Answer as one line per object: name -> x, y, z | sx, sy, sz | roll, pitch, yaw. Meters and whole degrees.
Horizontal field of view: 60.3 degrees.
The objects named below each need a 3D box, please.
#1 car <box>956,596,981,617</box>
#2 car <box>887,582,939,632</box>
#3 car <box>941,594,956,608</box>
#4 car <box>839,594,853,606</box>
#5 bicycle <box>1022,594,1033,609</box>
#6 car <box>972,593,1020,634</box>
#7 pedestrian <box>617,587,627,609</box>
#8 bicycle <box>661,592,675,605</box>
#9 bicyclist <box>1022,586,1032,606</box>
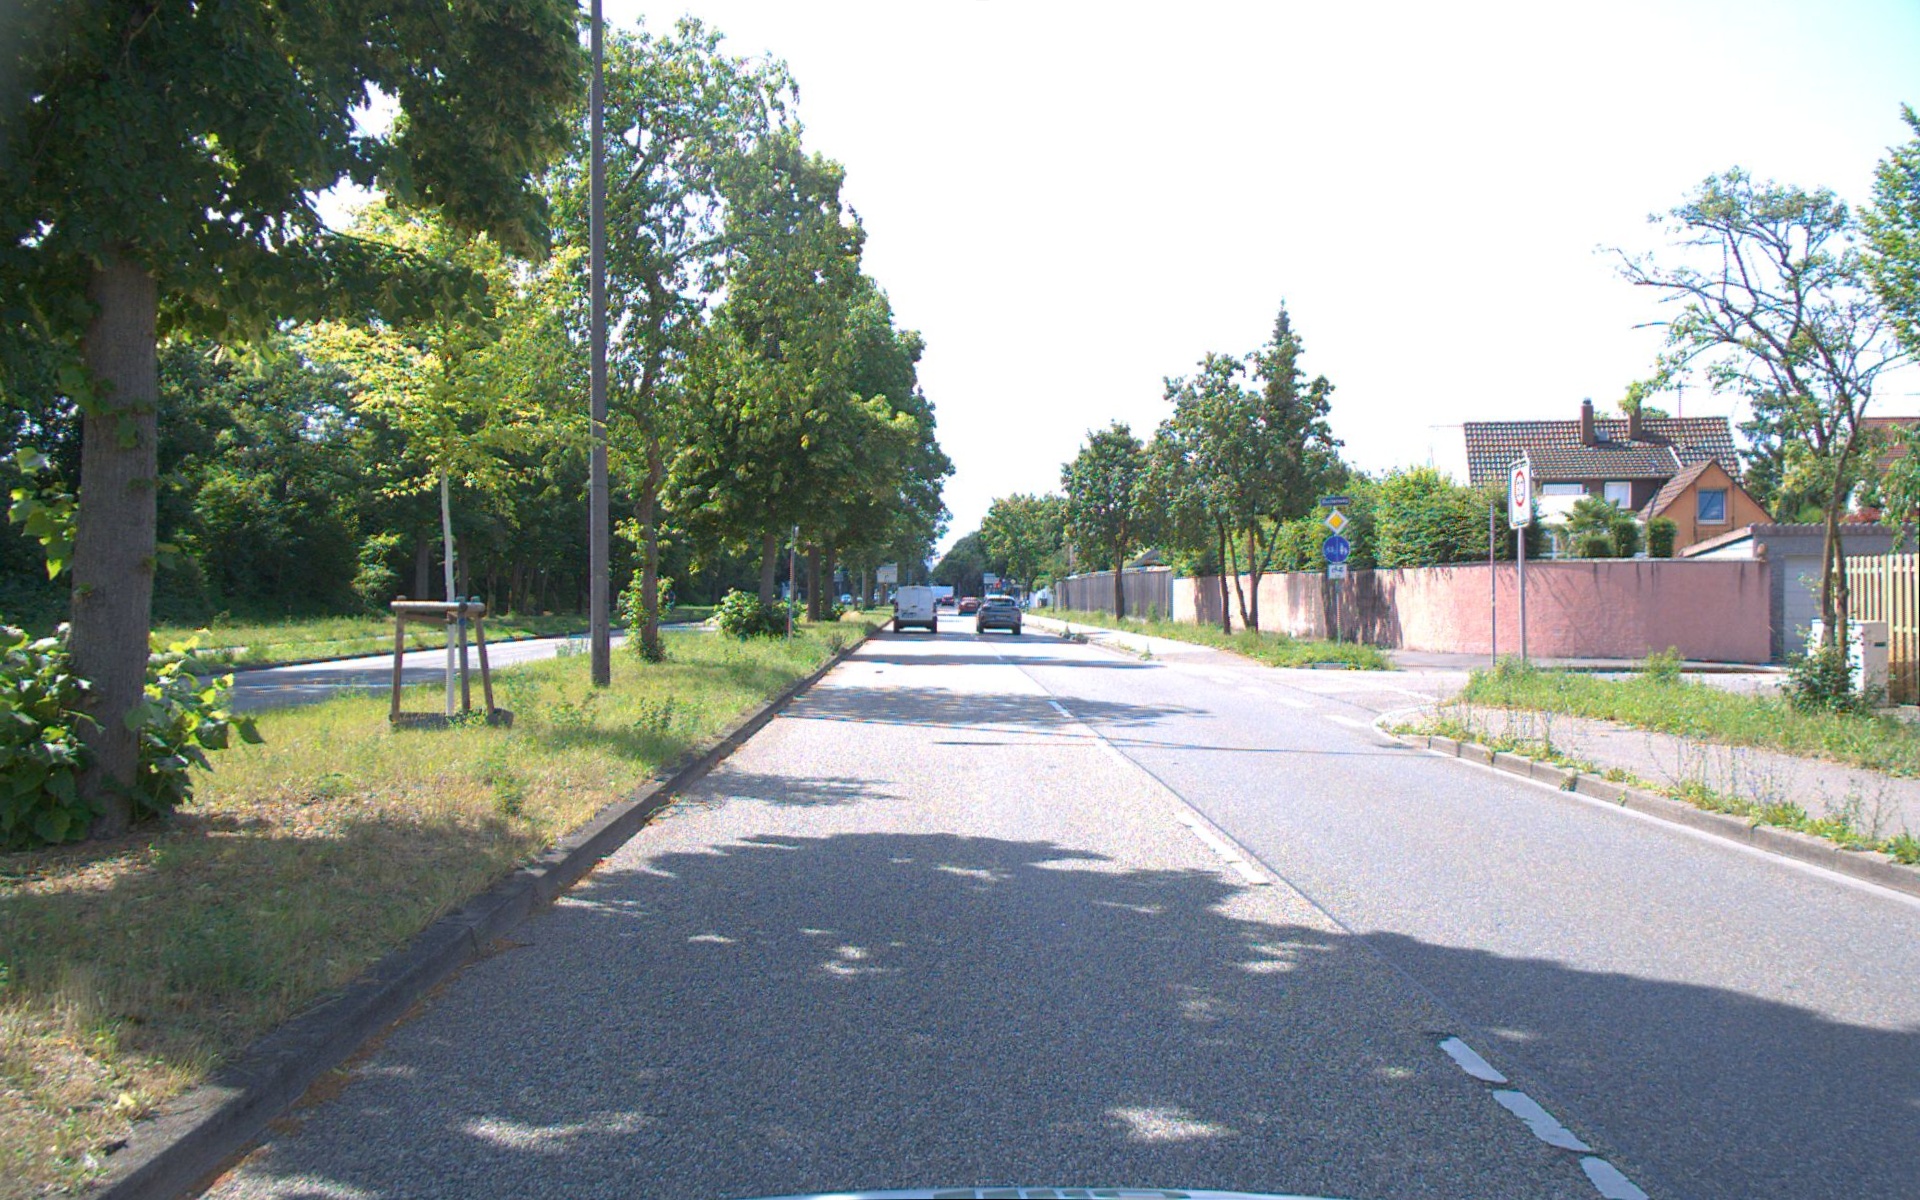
car -> 0.676, 0.478, 129.886 | 1.842, 1.615, 3.999 | 0, 0, -1
car -> -1.871, 0.274, 67.116 | 2.024, 1.945, 4.645 | 0, 0, -1
car -> -1.607, 0.141, 232.068 | 1.953, 1.803, 4.146 | 2, 0, -1
car -> -17.444, 0.019, 253.240 | 1.953, 1.735, 4.192 | 0, 0, -1
bicycle -> 4.894, 0.113, 120.144 | 0.633, 1.086, 2.278 | -2, 0, 0
car -> 1.465, 0.536, 68.378 | 1.837, 1.617, 4.183 | 0, 0, -1
pedestrian -> -26.395, -0.139, 129.224 | 0.631, 1.658, 0.656 | 1, 0, -1
bicycle -> -20.335, -0.127, 115.196 | 0.605, 0.894, 1.915 | 0, 0, 2
bicyclist -> 4.880, -0.280, 120.214 | 0.641, 1.436, 0.986 | -2, 0, 0
